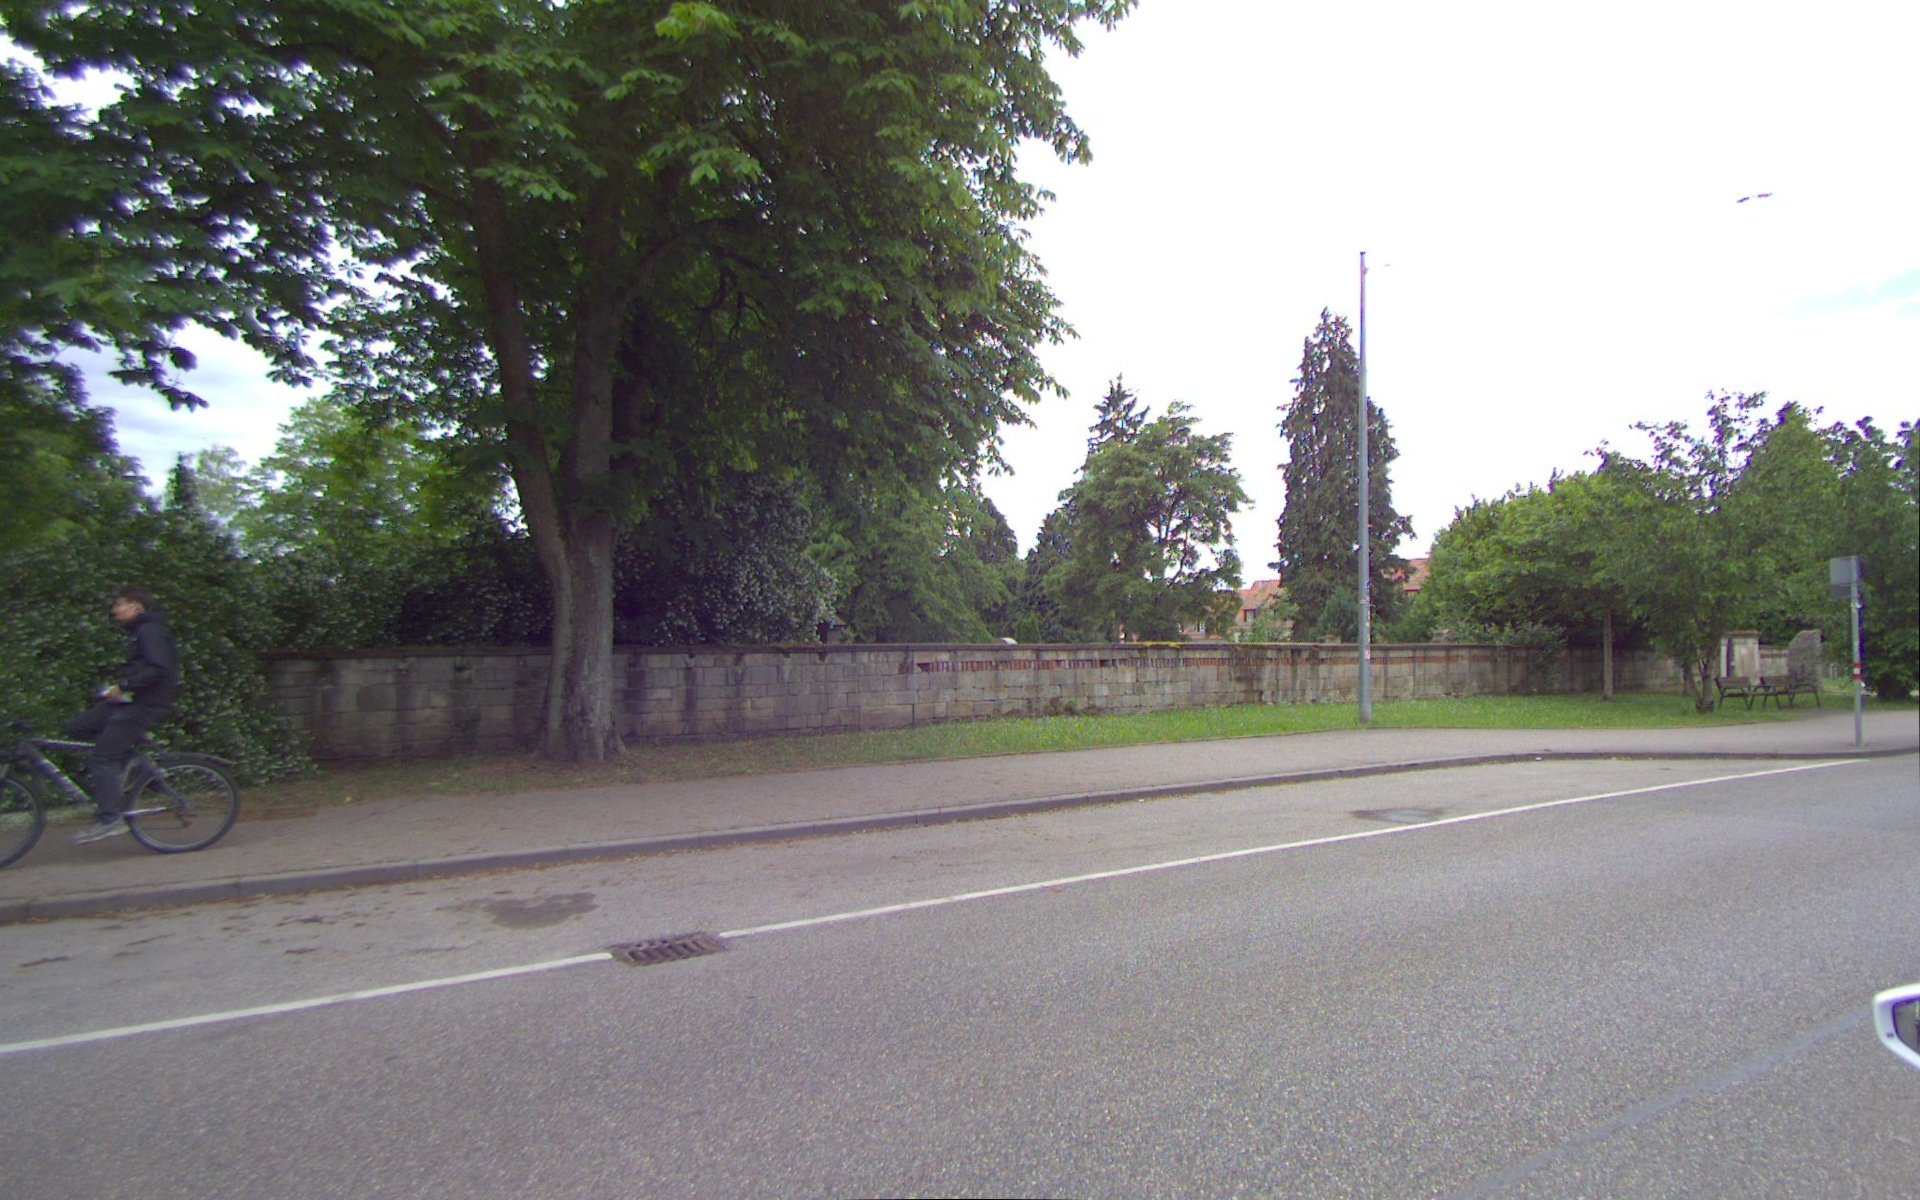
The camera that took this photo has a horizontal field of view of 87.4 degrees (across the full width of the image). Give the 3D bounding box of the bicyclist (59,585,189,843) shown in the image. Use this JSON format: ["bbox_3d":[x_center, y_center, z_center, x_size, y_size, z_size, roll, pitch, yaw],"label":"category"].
[{"bbox_3d":[-5.799,0.758,6.993,0.581,1.706,0.485,2,0,-30],"label":"bicyclist"}]

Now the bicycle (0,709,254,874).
[{"bbox_3d":[-5.958,1.289,6.913,1.728,0.977,0.493,2,0,-30],"label":"bicycle"}]
